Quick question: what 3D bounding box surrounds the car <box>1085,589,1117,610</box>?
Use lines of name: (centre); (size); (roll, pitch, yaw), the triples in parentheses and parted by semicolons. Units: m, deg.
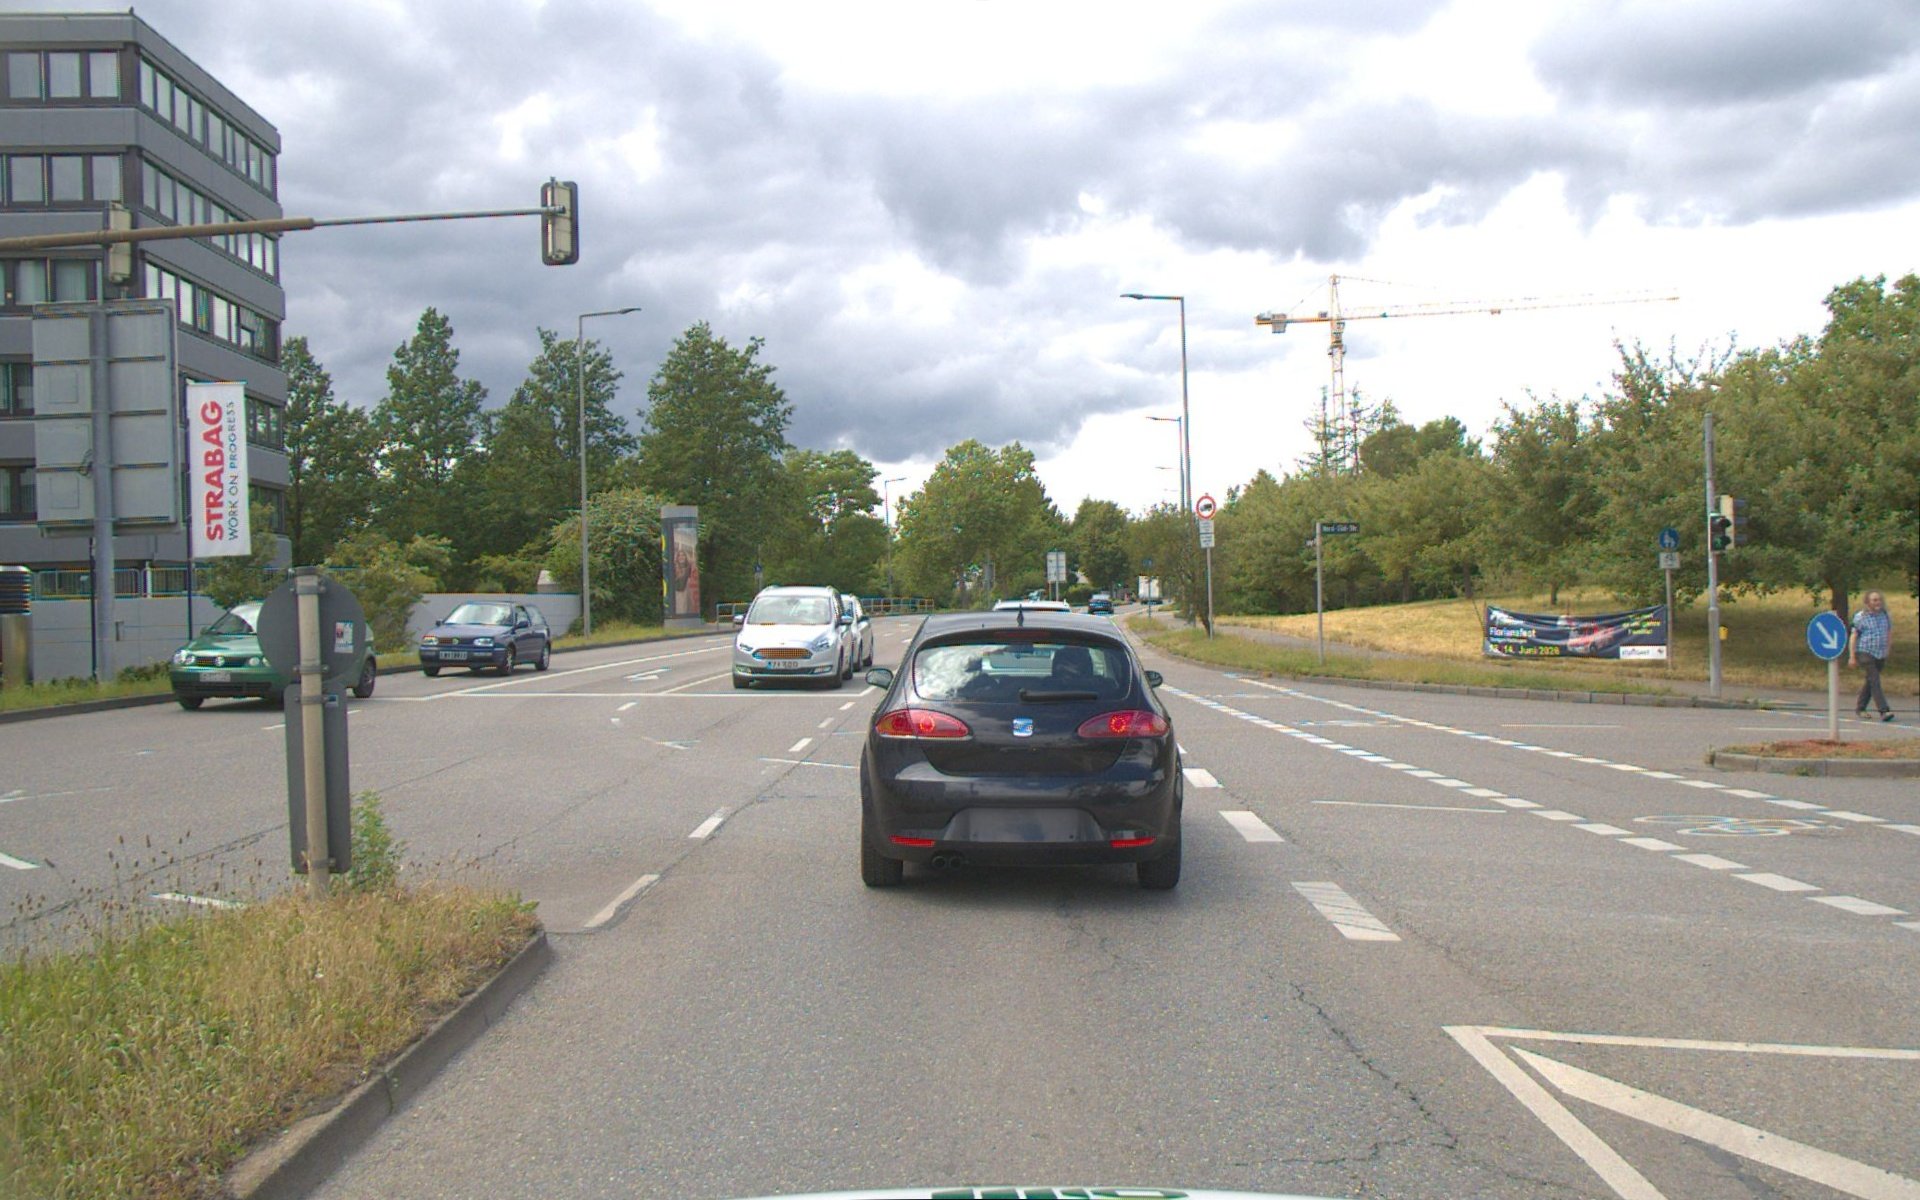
car: (10.575, -0.052, 123.871); (1.951, 1.593, 4.475); (-1, 0, 10)

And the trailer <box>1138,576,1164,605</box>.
trailer: (21.222, -1.081, 183.954); (2.438, 3.127, 5.591); (0, -1, 11)

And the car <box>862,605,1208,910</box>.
car: (0.310, 0.767, 9.729); (1.677, 1.442, 3.458); (0, 0, -2)

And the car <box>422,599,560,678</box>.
car: (-9.264, 0.714, 32.952); (1.521, 1.444, 3.897); (0, 0, 2)

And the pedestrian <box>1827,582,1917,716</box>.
pedestrian: (12.722, 0.667, 23.098); (0.703, 1.824, 1.044); (0, -1, 2)

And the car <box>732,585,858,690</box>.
car: (-2.839, 0.592, 29.350); (1.783, 1.716, 4.645); (0, 0, 0)

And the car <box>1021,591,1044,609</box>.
car: (6.924, 0.015, 158.068); (1.678, 1.609, 3.745); (0, 0, 10)

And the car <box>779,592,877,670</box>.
car: (-2.760, 0.619, 35.366); (1.626, 1.545, 4.085); (0, 0, 2)

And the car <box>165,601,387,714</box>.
car: (-9.588, 0.755, 23.488); (1.572, 1.457, 3.752); (0, 0, 0)

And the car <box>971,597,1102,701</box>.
car: (1.121, 0.725, 25.808); (1.797, 1.493, 3.750); (0, 0, -1)
